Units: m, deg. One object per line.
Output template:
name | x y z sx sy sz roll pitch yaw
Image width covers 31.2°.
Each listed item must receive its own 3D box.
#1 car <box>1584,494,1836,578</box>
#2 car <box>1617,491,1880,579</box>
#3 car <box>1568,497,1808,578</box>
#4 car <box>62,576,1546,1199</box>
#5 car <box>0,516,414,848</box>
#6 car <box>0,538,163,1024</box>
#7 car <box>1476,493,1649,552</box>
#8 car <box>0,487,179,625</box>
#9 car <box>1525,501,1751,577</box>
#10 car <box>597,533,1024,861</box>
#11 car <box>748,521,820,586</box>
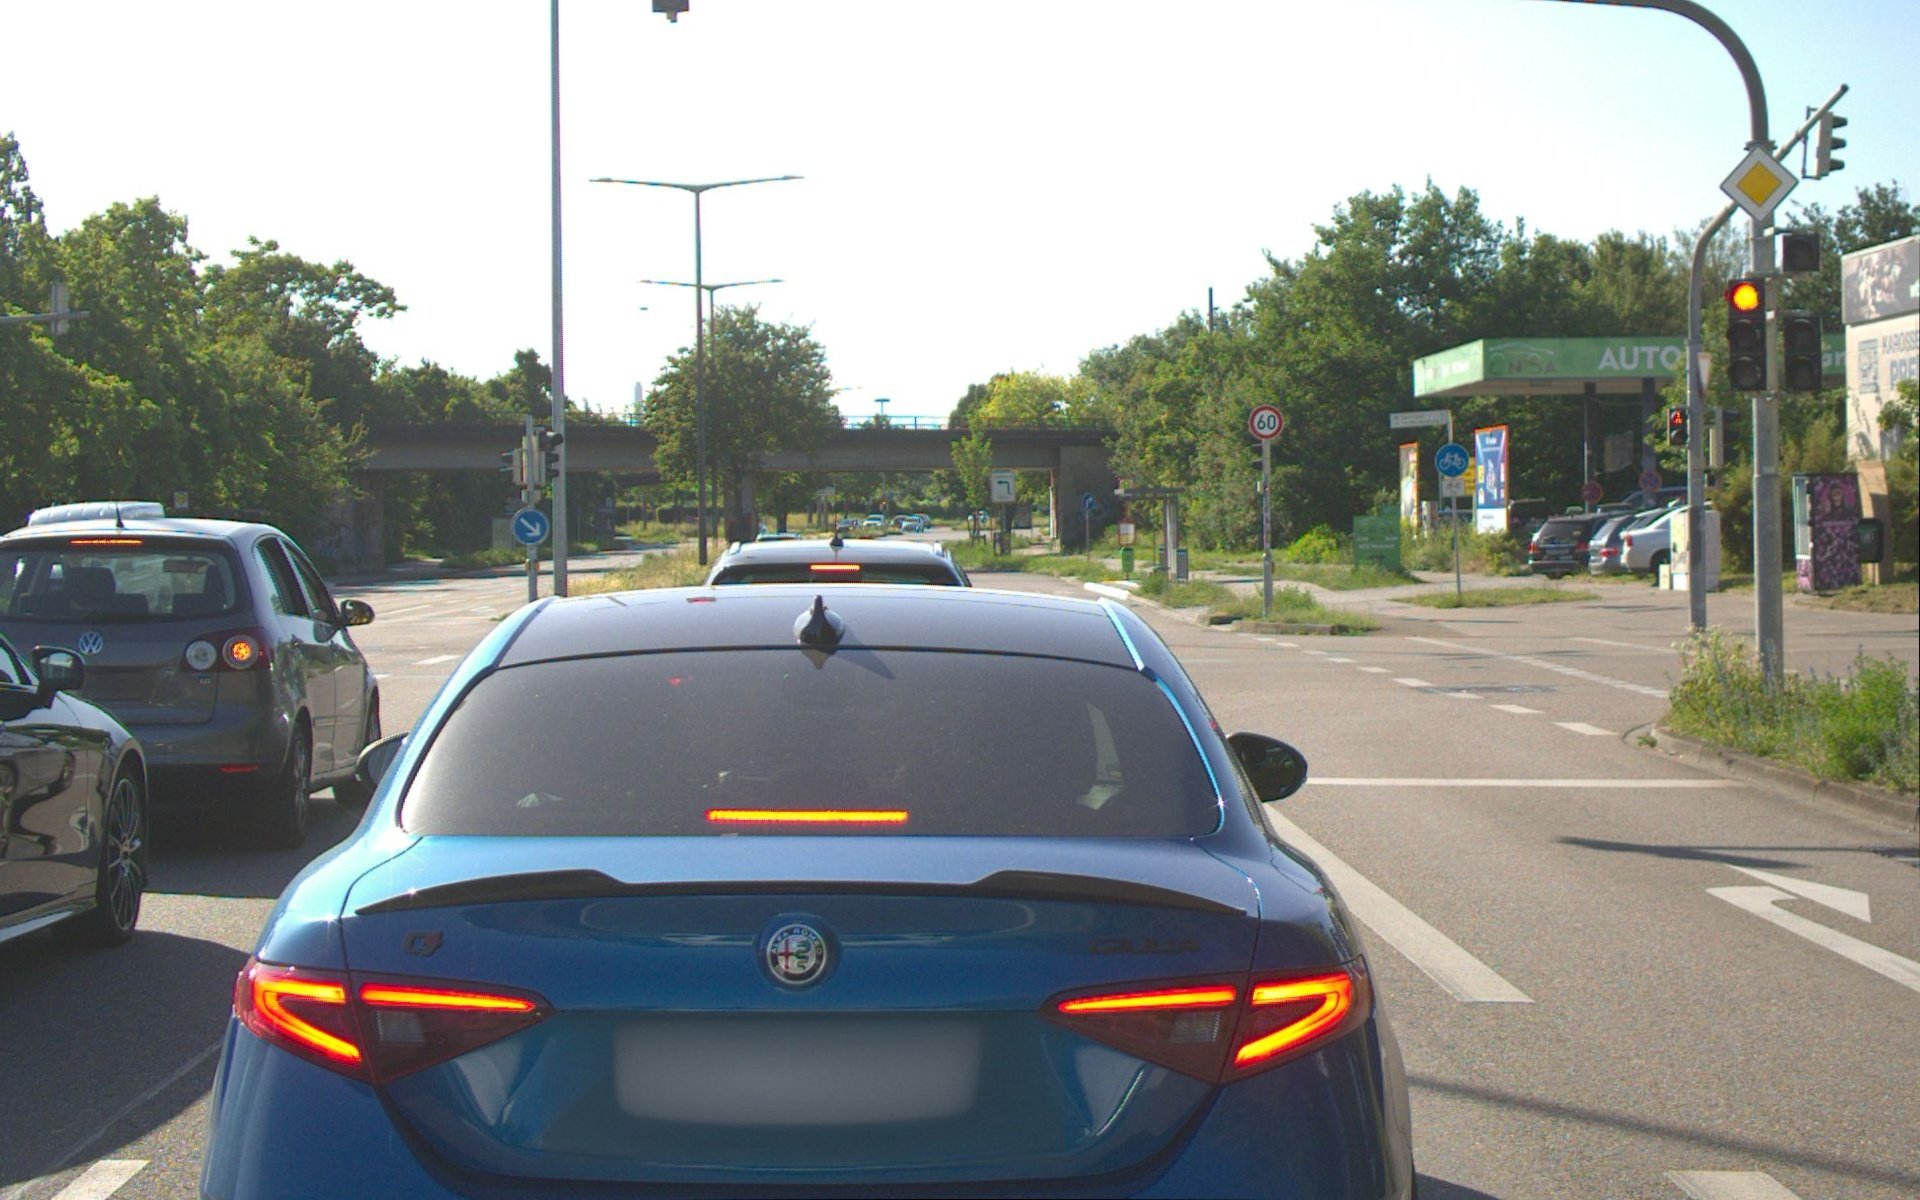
car | 14.657 -1.249 67.362 4.489 1.449 1.858 -2 1 1
car | 14.774 -1.210 64.583 4.489 1.449 1.858 -2 1 1
car | 14.814 -1.265 70.116 4.489 1.449 1.858 -2 1 1
car | -0.263 0.681 6.621 1.895 1.413 4.403 1 1 -2
car | -3.995 0.347 17.730 1.759 1.485 4.403 1 1 -2
car | -3.830 0.541 10.631 1.796 1.485 4.476 1 1 -2
car | 17.042 -2.194 97.330 4.551 1.485 1.765 -2 1 1
car | -16.840 -0.861 66.653 2.022 2.439 5.822 -4 1 -1
car | 14.594 -1.313 74.166 4.489 1.449 1.858 -2 1 1
car | -0.719 0.405 17.254 1.850 1.413 4.403 1 1 -2
car | -5.105 -1.344 100.145 1.891 1.809 4.000 1 1 -1
